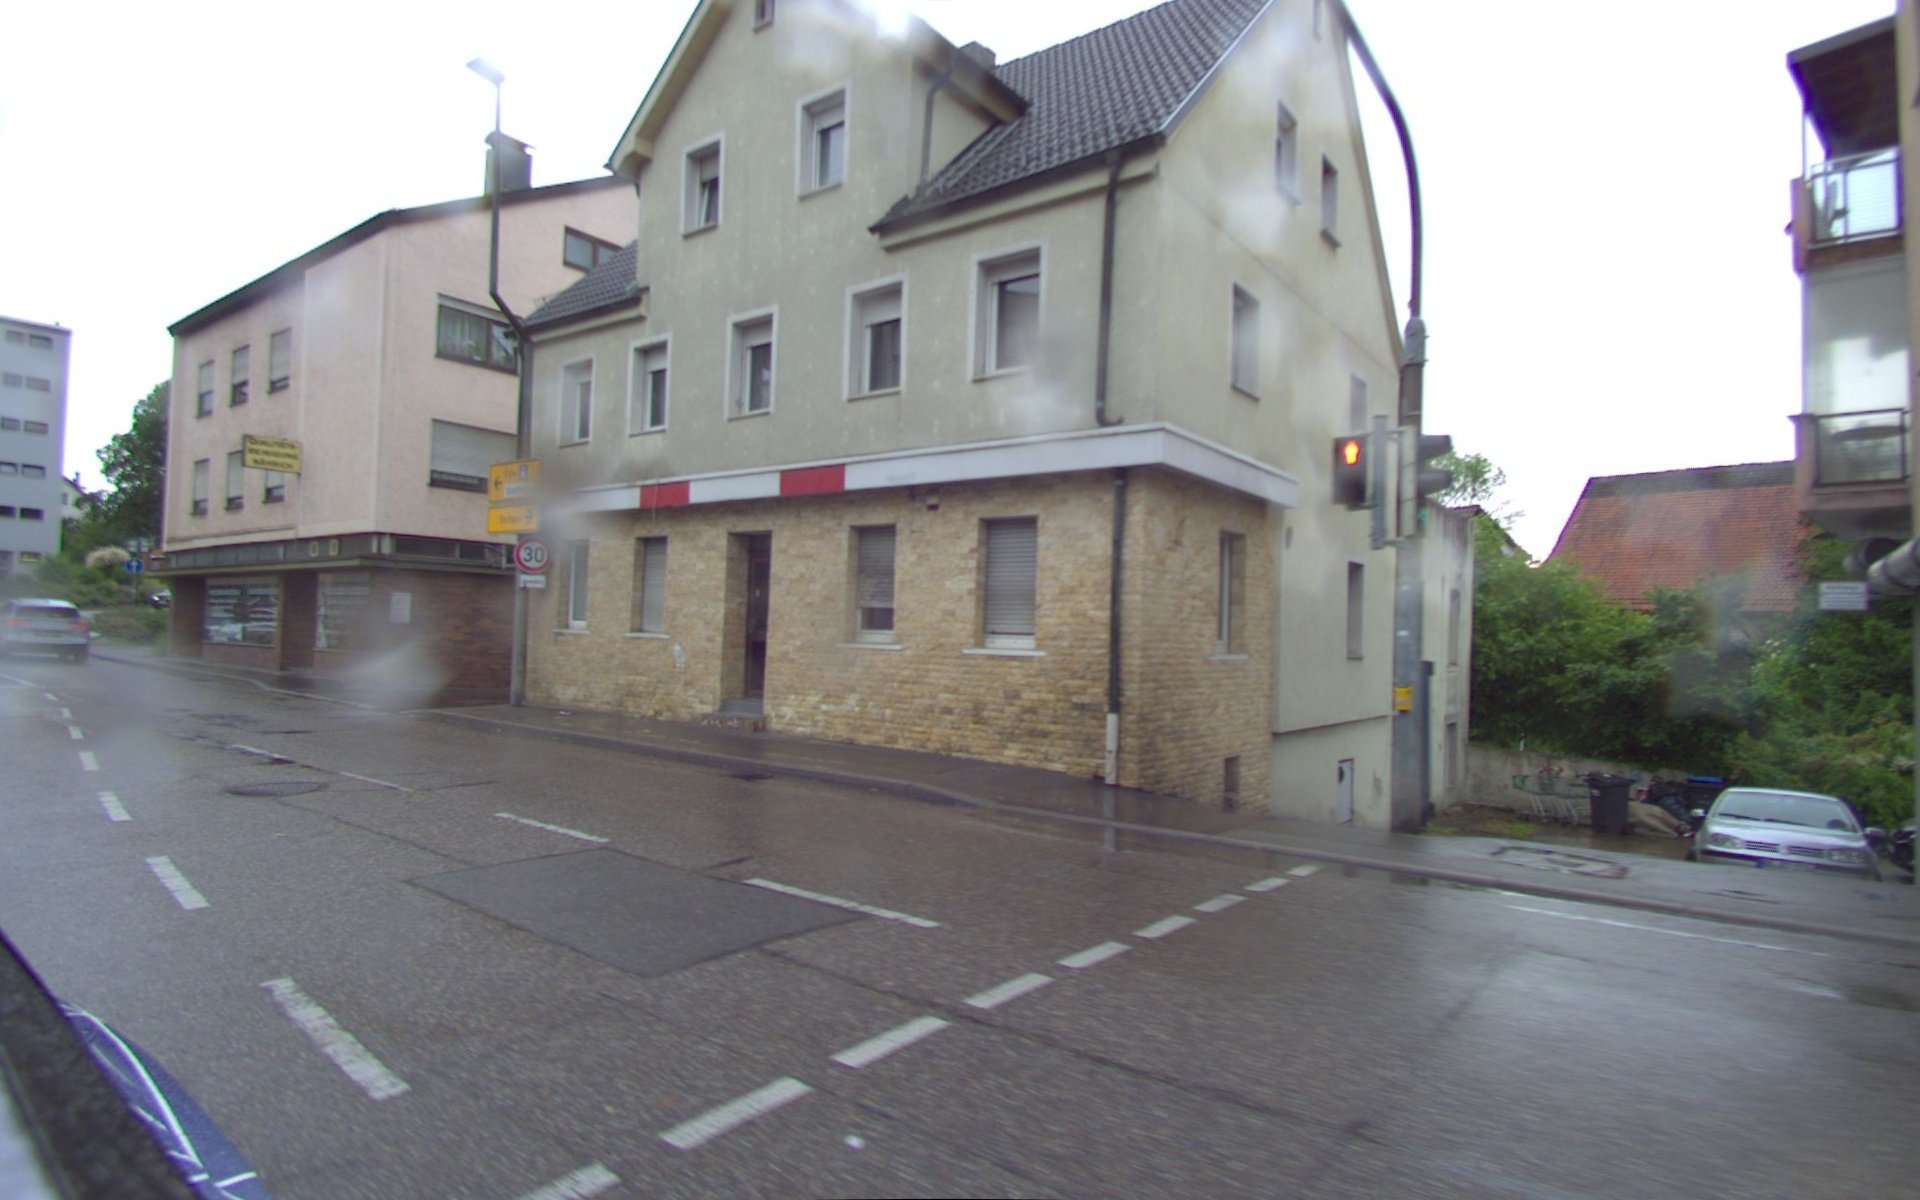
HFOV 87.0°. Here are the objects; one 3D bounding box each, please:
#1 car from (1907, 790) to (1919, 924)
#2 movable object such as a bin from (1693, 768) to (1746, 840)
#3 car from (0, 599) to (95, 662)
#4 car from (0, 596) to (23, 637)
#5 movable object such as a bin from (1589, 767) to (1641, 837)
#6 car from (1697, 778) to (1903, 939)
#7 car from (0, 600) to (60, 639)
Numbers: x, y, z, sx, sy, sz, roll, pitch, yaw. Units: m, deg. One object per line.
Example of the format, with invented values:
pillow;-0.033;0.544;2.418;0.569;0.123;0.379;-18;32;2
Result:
car;16.520;3.916;14.760;3.833;1.870;1.829;-5;-7;43
movable object such as a bin;14.123;3.778;18.814;0.747;1.174;0.724;-2;-5;40
car;-25.235;0.843;27.426;4.329;1.572;1.768;-1;-4;37
car;-43.249;0.600;44.207;1.869;1.671;4.960;5;-7;-25
movable object such as a bin;12.474;3.819;19.268;0.747;1.174;0.724;-2;-5;40
car;10.544;3.088;12.625;1.730;1.494;3.811;-2;-9;43
car;-37.028;0.811;40.186;1.670;1.383;4.116;5;-5;-44
